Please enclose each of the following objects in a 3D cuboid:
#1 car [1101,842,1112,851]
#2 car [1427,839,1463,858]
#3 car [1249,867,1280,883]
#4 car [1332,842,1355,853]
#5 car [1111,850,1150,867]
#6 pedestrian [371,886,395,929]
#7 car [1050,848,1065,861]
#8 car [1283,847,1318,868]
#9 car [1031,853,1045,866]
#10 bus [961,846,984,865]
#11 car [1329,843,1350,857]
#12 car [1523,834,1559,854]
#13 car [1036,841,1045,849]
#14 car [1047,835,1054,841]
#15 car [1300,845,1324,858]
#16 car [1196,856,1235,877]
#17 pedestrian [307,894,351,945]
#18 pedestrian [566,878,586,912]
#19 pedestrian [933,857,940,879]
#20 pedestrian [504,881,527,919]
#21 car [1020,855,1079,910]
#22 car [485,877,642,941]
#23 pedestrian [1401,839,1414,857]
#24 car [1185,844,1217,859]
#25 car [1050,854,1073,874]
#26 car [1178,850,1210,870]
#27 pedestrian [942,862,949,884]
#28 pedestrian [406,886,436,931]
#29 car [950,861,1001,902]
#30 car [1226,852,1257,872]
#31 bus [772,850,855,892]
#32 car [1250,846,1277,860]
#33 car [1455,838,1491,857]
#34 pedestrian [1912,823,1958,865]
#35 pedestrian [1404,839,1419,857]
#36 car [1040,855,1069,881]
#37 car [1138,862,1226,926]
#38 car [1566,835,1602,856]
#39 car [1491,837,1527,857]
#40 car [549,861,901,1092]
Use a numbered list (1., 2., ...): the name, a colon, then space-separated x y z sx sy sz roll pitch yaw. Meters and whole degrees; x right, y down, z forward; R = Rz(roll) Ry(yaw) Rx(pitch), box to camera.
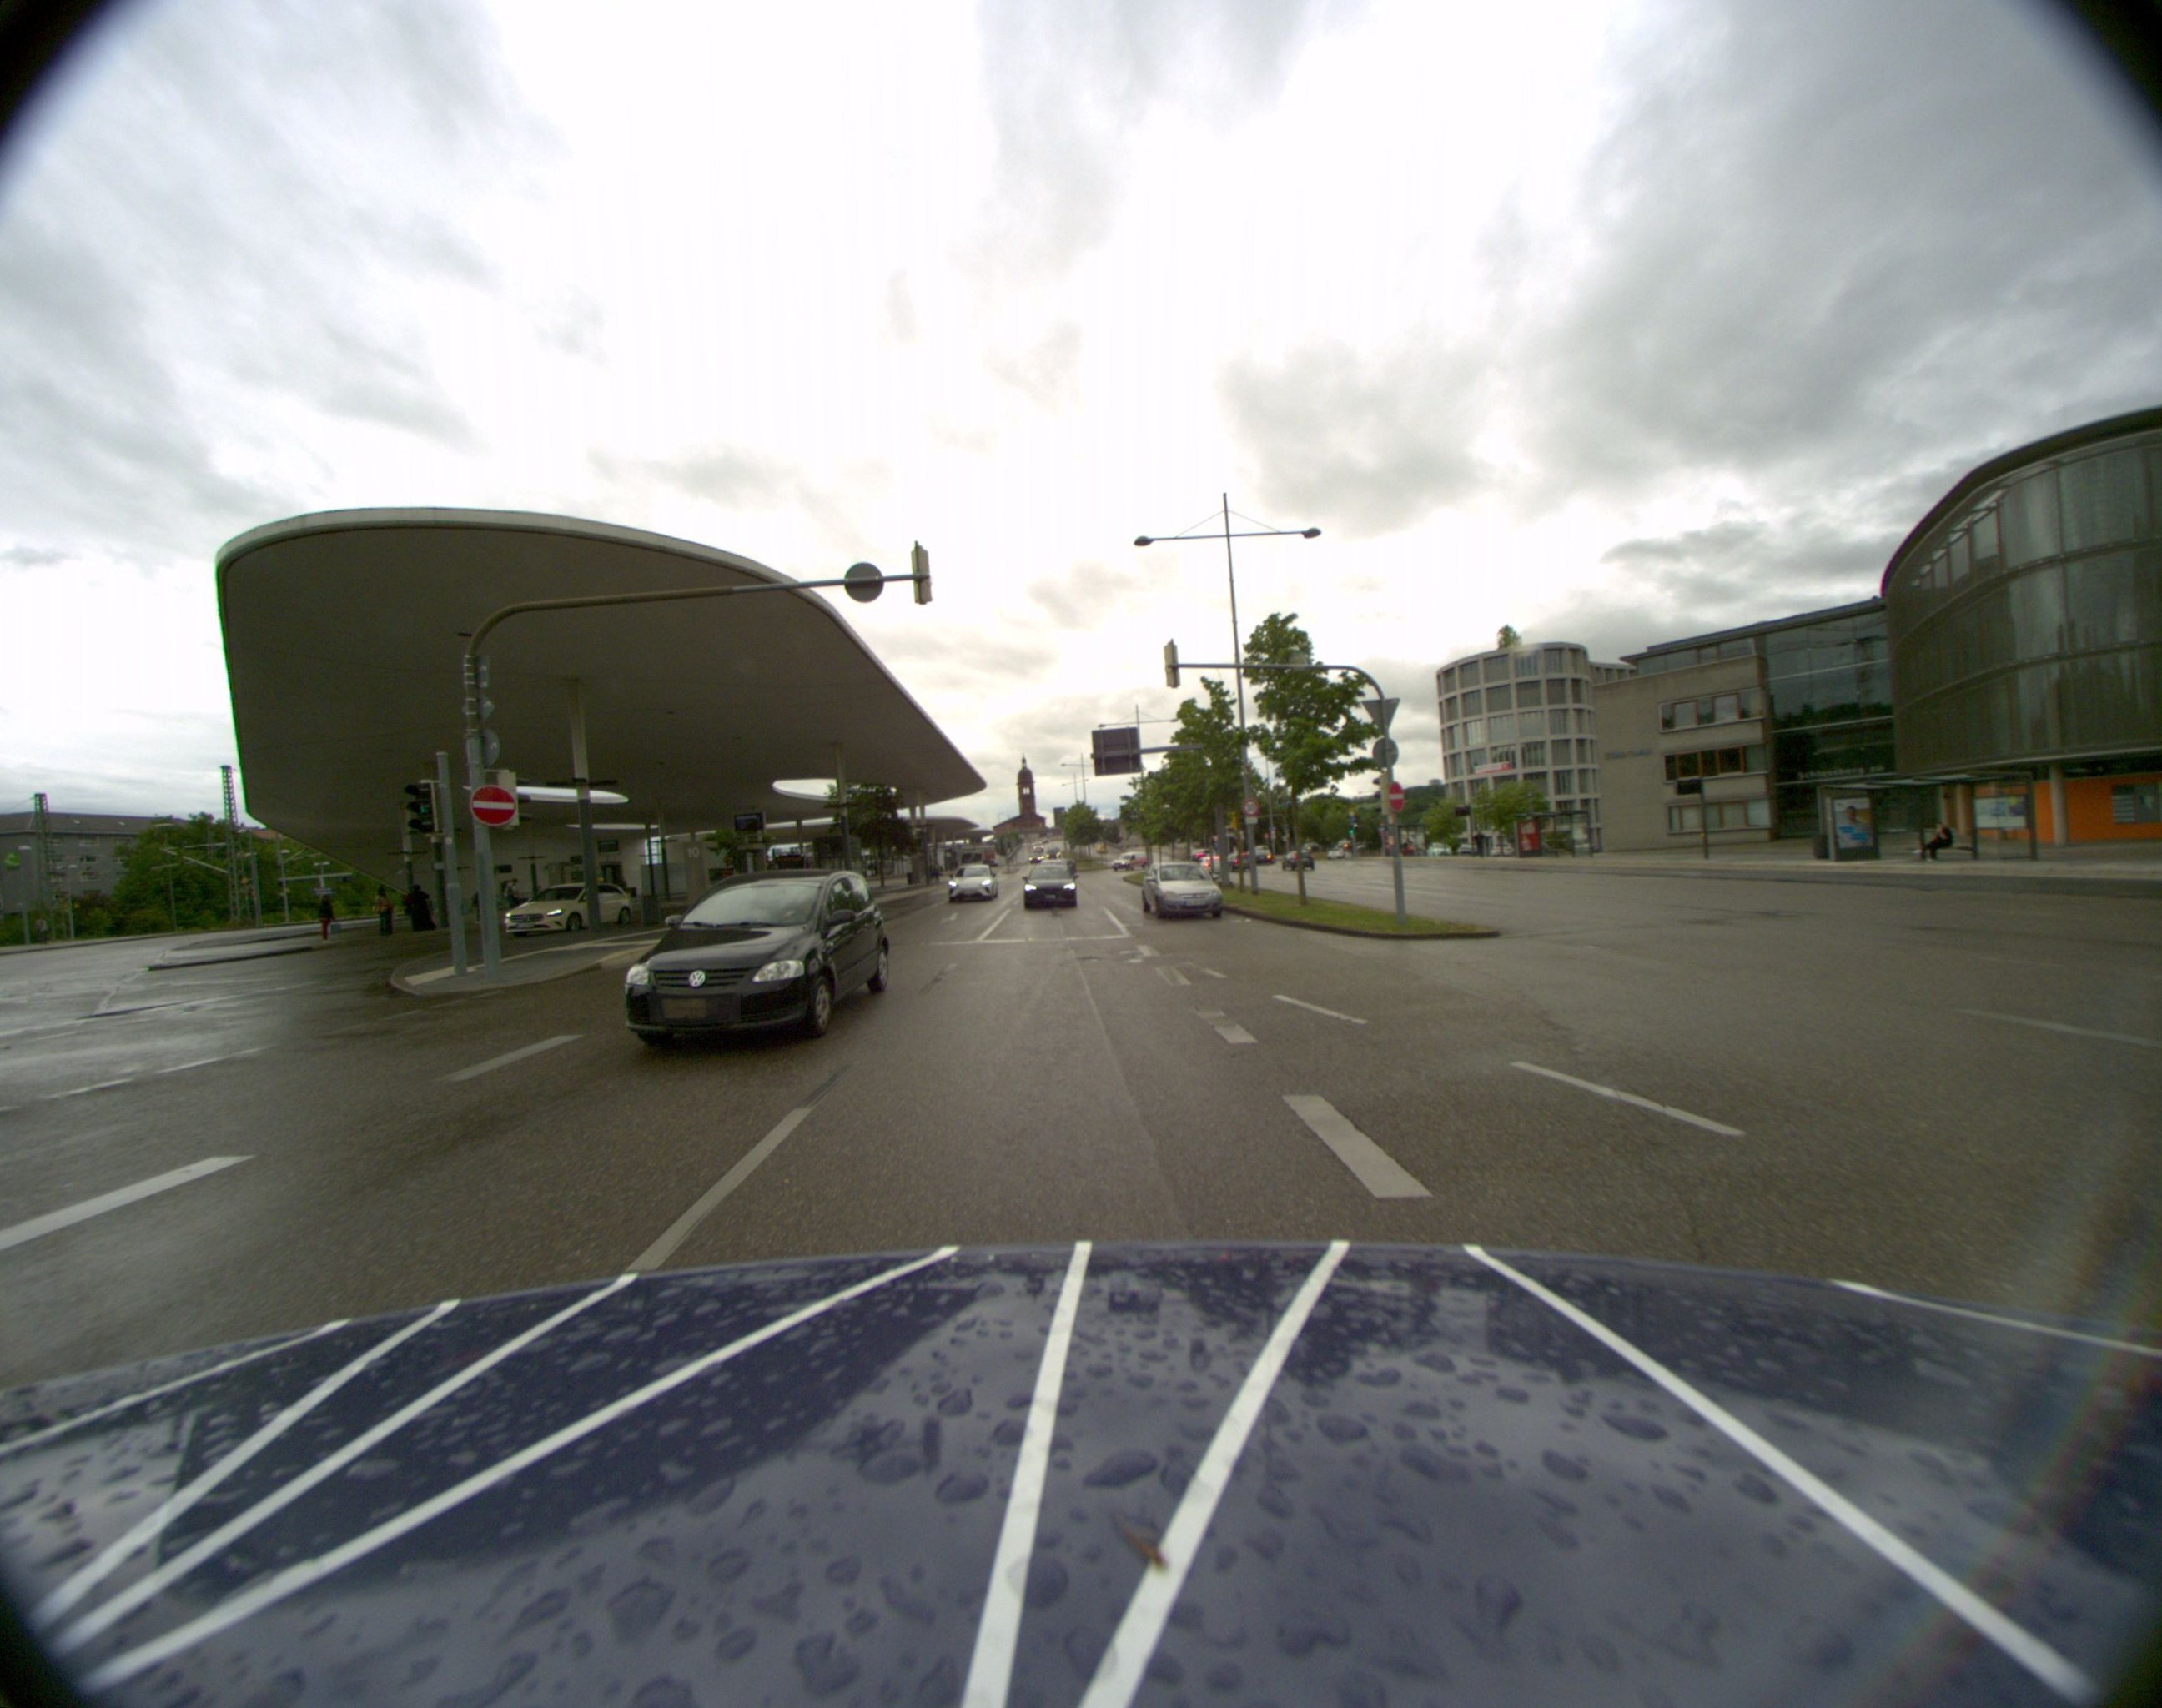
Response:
1. car: 4.641 -1.332 138.269 1.875 1.624 4.158 -2 0 2
2. car: 35.401 -0.567 73.815 1.872 1.692 4.165 -1 1 44
3. car: 18.149 2.097 75.372 1.961 1.414 3.999 -2 0 -1
4. car: 40.906 -1.033 118.256 1.889 1.703 4.226 -1 1 40
5. car: 5.234 0.445 80.336 1.872 1.624 4.165 -1 1 44
6. pedestrian: -25.059 1.919 27.281 0.534 1.505 0.480 -2 1 33
7. car: -3.817 0.023 122.160 2.000 2.002 3.997 -2 1 -7
8. car: 16.670 0.268 57.846 1.681 1.503 3.863 -2 0 2
9. car: -6.772 0.855 119.337 1.999 2.002 3.998 -2 1 -3
10. bus: -19.258 0.335 134.479 3.585 3.080 10.745 -3 0 -10
11. car: 31.566 -0.543 92.742 1.957 1.608 4.215 -1 1 24
12. car: 41.416 -0.874 68.404 1.872 1.692 4.165 -1 1 44
13. car: -8.409 -1.790 156.660 1.650 1.551 3.647 -2 1 -7
14. car: -8.068 -4.229 202.241 1.650 1.551 3.647 -2 1 -7
15. car: 33.379 -0.385 109.686 1.889 1.703 4.226 -1 1 39
16. car: 9.611 0.875 54.676 2.010 1.345 4.164 -2 0 -1
17. pedestrian: -24.729 2.140 25.003 0.641 1.586 0.741 -1 1 13
18. pedestrian: -23.260 1.872 35.032 0.479 1.505 0.535 -2 1 2
19. pedestrian: -11.790 1.171 62.125 0.445 1.753 0.537 -3 1 -8
20. pedestrian: -23.129 1.896 31.091 0.479 1.505 0.535 -2 1 2
21. car: -1.064 0.938 26.648 1.876 1.692 4.156 -2 1 -1
22. car: -16.609 1.681 24.731 1.999 1.671 4.541 -2 0 -1
23. pedestrian: 27.565 -0.525 64.151 0.733 1.481 0.734 -1 1 7
24. car: 14.298 -0.284 90.567 1.872 1.624 4.293 -1 1 39
25. car: -1.677 0.836 65.682 1.876 1.624 4.156 -2 1 -2
26. car: 9.178 0.440 62.067 2.010 1.545 4.164 -2 0 1
27. pedestrian: -11.059 1.529 61.996 0.446 1.753 0.536 -3 1 -18
28. pedestrian: -22.499 1.855 25.910 0.534 1.505 0.479 -2 1 3
29. car: -4.496 1.134 32.796 1.811 1.550 4.048 -2 0 -3
30. car: 13.167 0.619 62.444 1.699 1.457 4.452 -2 0 2
31. bus: -21.898 1.259 63.131 2.877 3.064 11.919 -2 0 -1
32. car: 23.974 -0.120 99.681 1.872 1.624 4.165 -2 0 39
33. car: 37.151 -0.602 72.019 1.872 1.692 4.165 -1 1 44
34. pedestrian: 27.366 -0.325 24.357 0.668 1.292 0.720 -2 1 4
35. pedestrian: 27.465 -0.516 63.208 0.983 1.481 0.734 -1 1 9
36. car: -1.807 0.940 52.090 1.876 1.624 4.300 -2 0 -2
37. car: 2.619 0.990 20.509 1.699 1.457 3.719 -2 1 -3
38. car: 43.636 -0.736 65.846 1.872 1.692 4.165 -1 1 44
39. car: 39.375 -0.662 69.928 1.872 1.692 4.165 -2 0 44
40. car: -3.286 0.980 8.067 1.876 1.692 4.156 -1 1 -3
